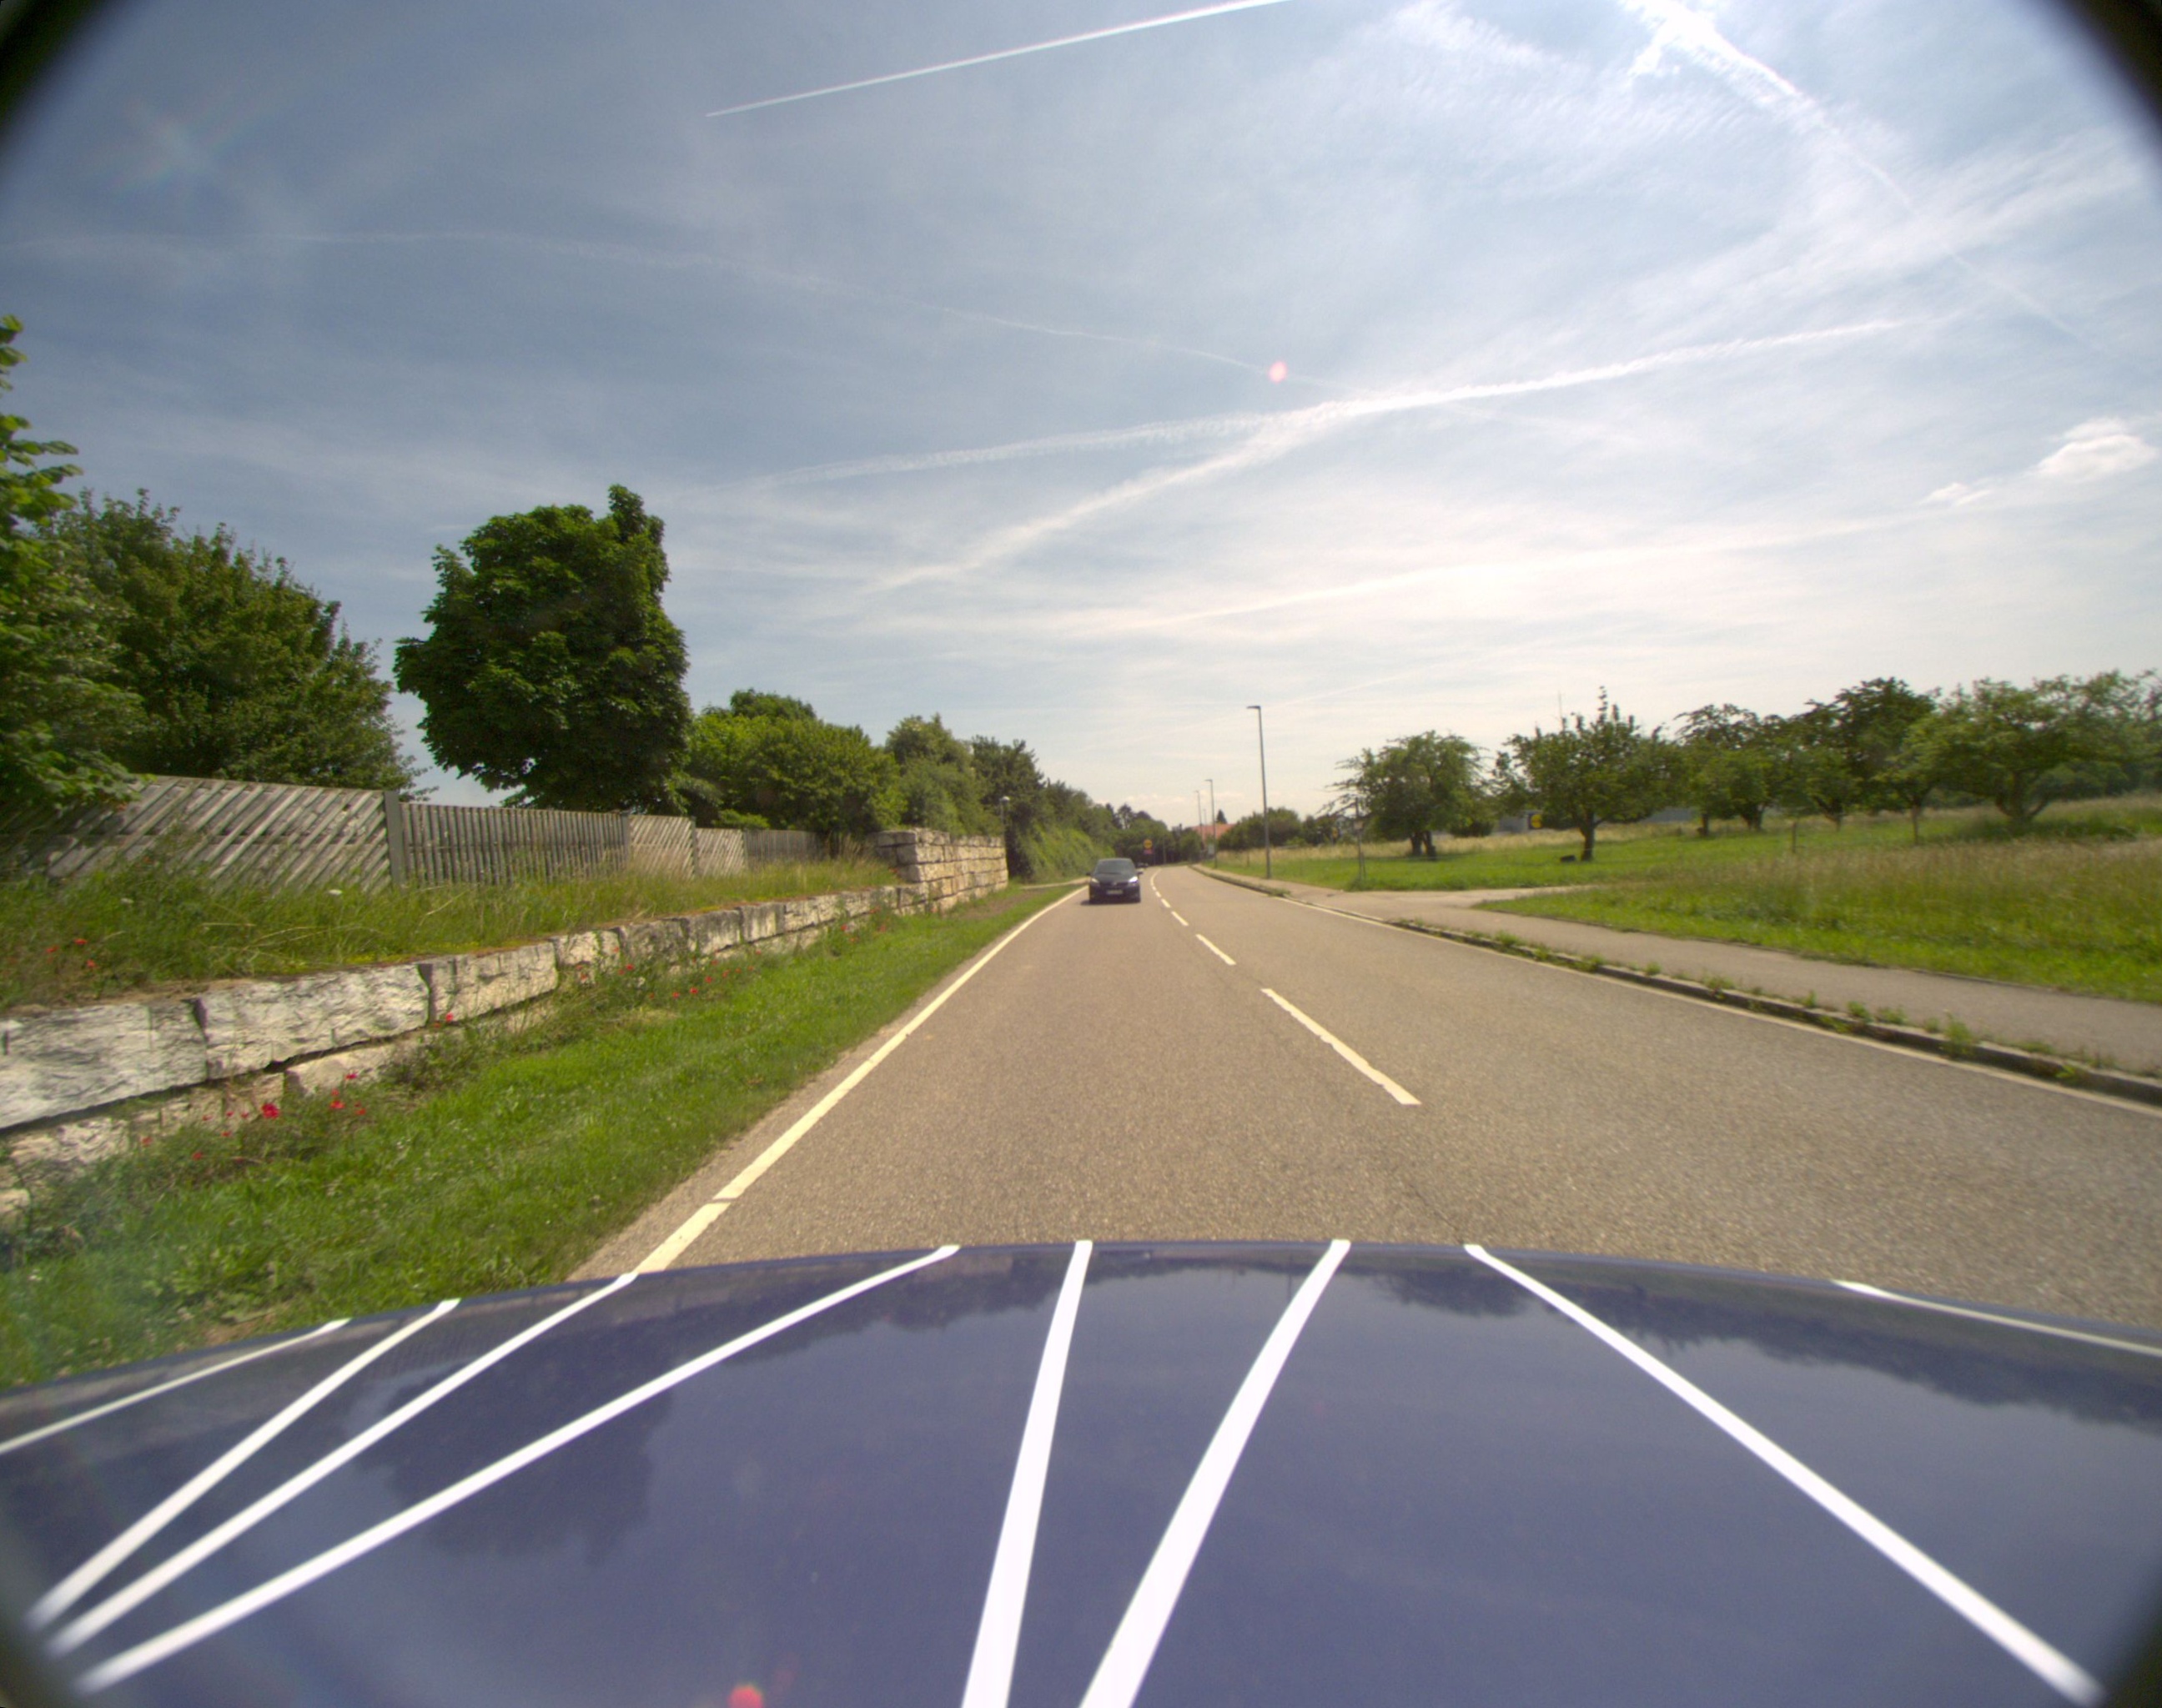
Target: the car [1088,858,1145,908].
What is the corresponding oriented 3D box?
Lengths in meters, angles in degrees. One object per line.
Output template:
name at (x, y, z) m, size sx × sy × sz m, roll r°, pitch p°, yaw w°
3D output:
car at (1.172, 0.913, 25.617) m, size 1.677 × 1.456 × 4.433 m, roll -2°, pitch 0°, yaw 2°
